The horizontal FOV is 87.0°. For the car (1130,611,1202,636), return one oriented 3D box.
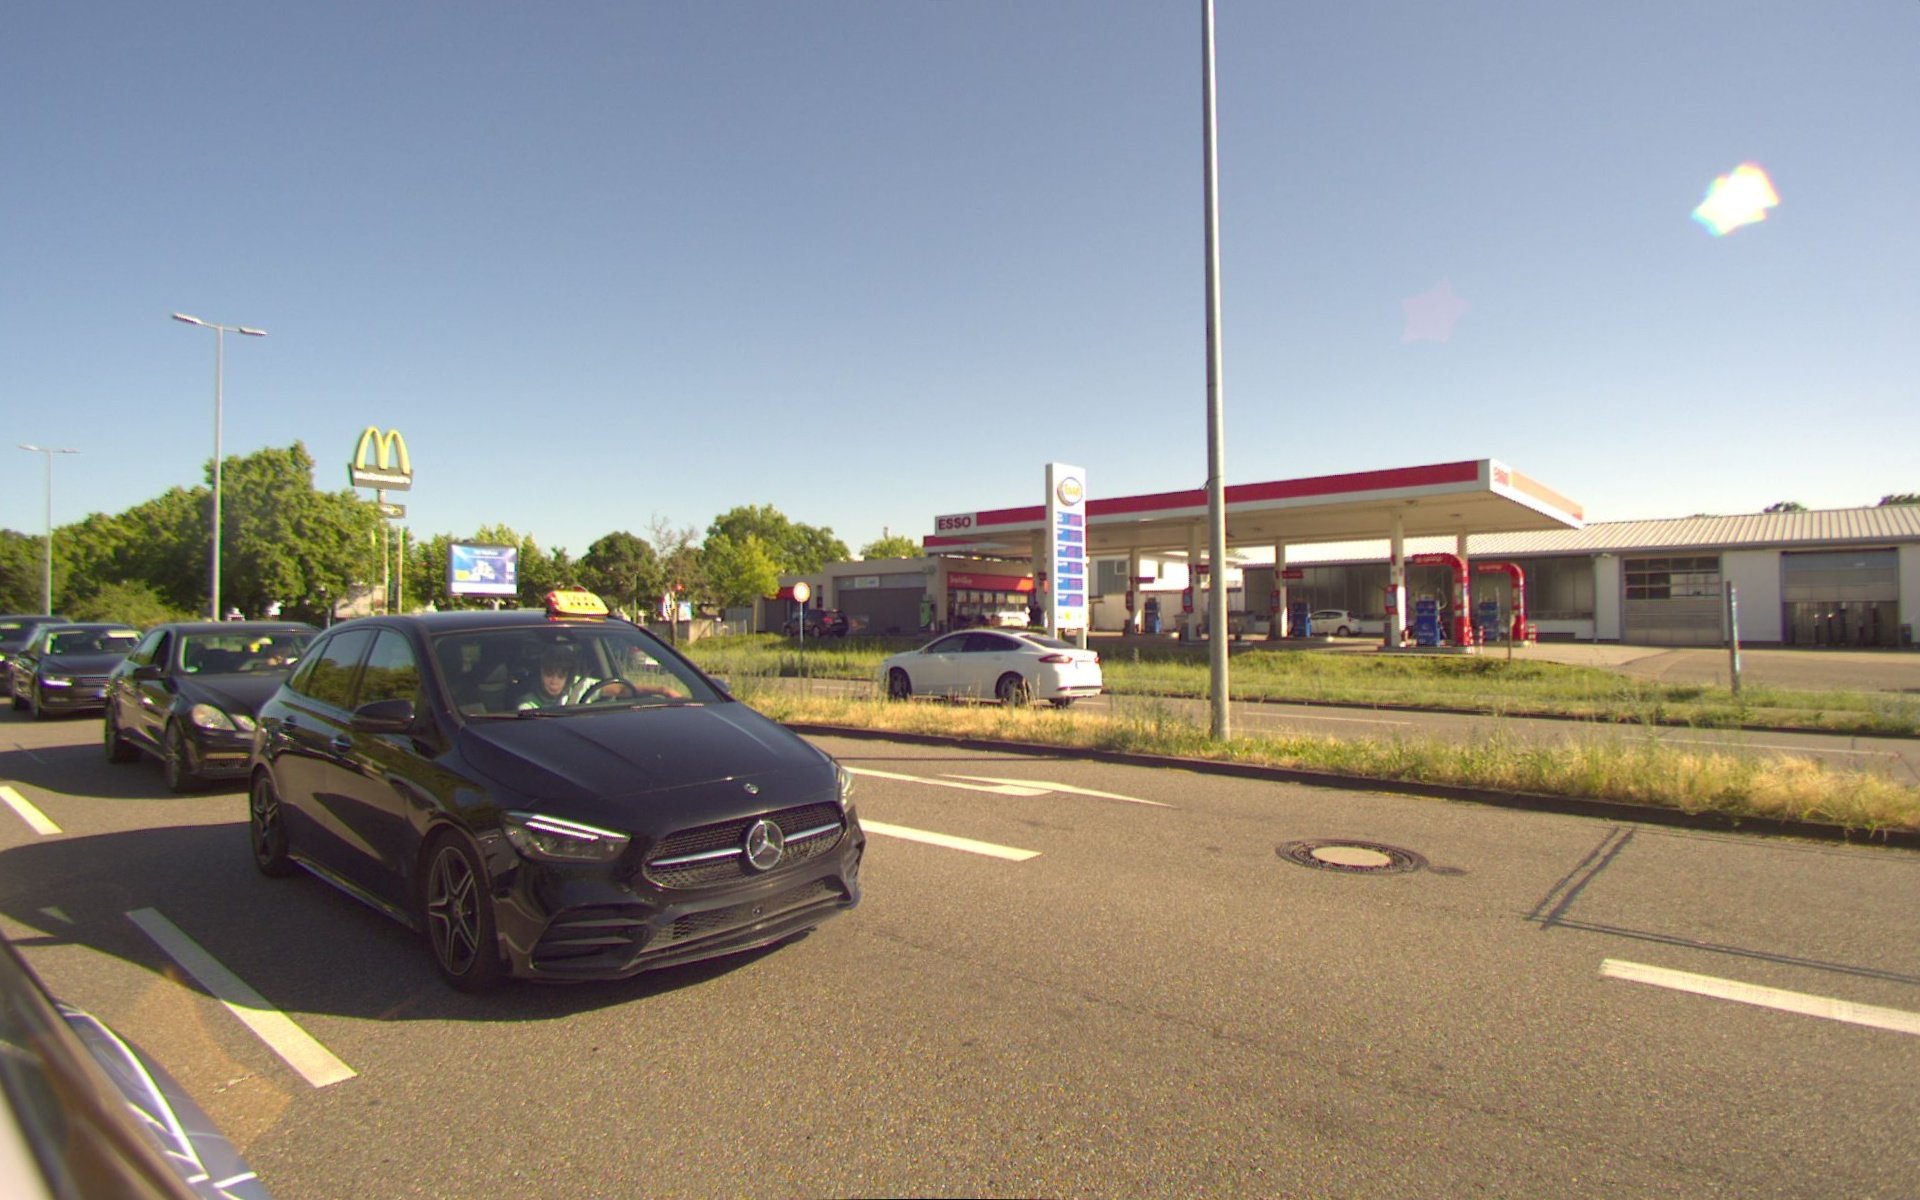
[{"bbox_3d":[12.456,1.406,61.370,3.975,1.420,1.661,-1,-4,40],"label":"car"}]

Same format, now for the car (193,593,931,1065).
[{"bbox_3d":[-2.369,0.746,5.325,4.400,1.502,1.741,-1,0,40],"label":"car"}]

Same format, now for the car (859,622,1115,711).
[{"bbox_3d":[0.425,1.243,19.654,4.872,1.502,1.742,-1,-4,38],"label":"car"}]

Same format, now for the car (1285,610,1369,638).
[{"bbox_3d":[19.856,1.310,54.828,3.975,1.420,1.661,-1,-4,40],"label":"car"}]

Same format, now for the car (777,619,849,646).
[{"bbox_3d":[-7.976,1.749,54.770,3.975,1.420,1.661,-1,-4,40],"label":"car"}]

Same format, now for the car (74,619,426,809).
[{"bbox_3d":[-7.246,0.940,10.152,4.400,1.449,1.845,-1,0,40],"label":"car"}]

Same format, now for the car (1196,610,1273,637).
[{"bbox_3d":[15.854,1.362,58.570,3.975,1.420,1.661,-1,-4,40],"label":"car"}]

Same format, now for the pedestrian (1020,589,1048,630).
[{"bbox_3d":[3.250,0.422,44.510,0.904,1.763,0.780,-1,0,44],"label":"pedestrian"}]

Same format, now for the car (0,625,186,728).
[{"bbox_3d":[-14.436,1.165,16.685,4.284,1.438,1.775,-1,0,40],"label":"car"}]

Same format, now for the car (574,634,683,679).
[{"bbox_3d":[-11.489,1.941,34.985,3.975,1.420,1.741,-1,-4,40],"label":"car"}]

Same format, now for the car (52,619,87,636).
[{"bbox_3d":[-78.904,2.470,89.641,3.975,1.420,1.741,-1,-4,40],"label":"car"}]

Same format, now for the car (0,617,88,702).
[{"bbox_3d":[-20.001,1.217,21.502,3.876,1.629,1.653,-2,-1,40],"label":"car"}]

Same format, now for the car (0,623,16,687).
[{"bbox_3d":[-25.207,1.381,25.533,3.774,1.567,1.615,-1,-1,40],"label":"car"}]
